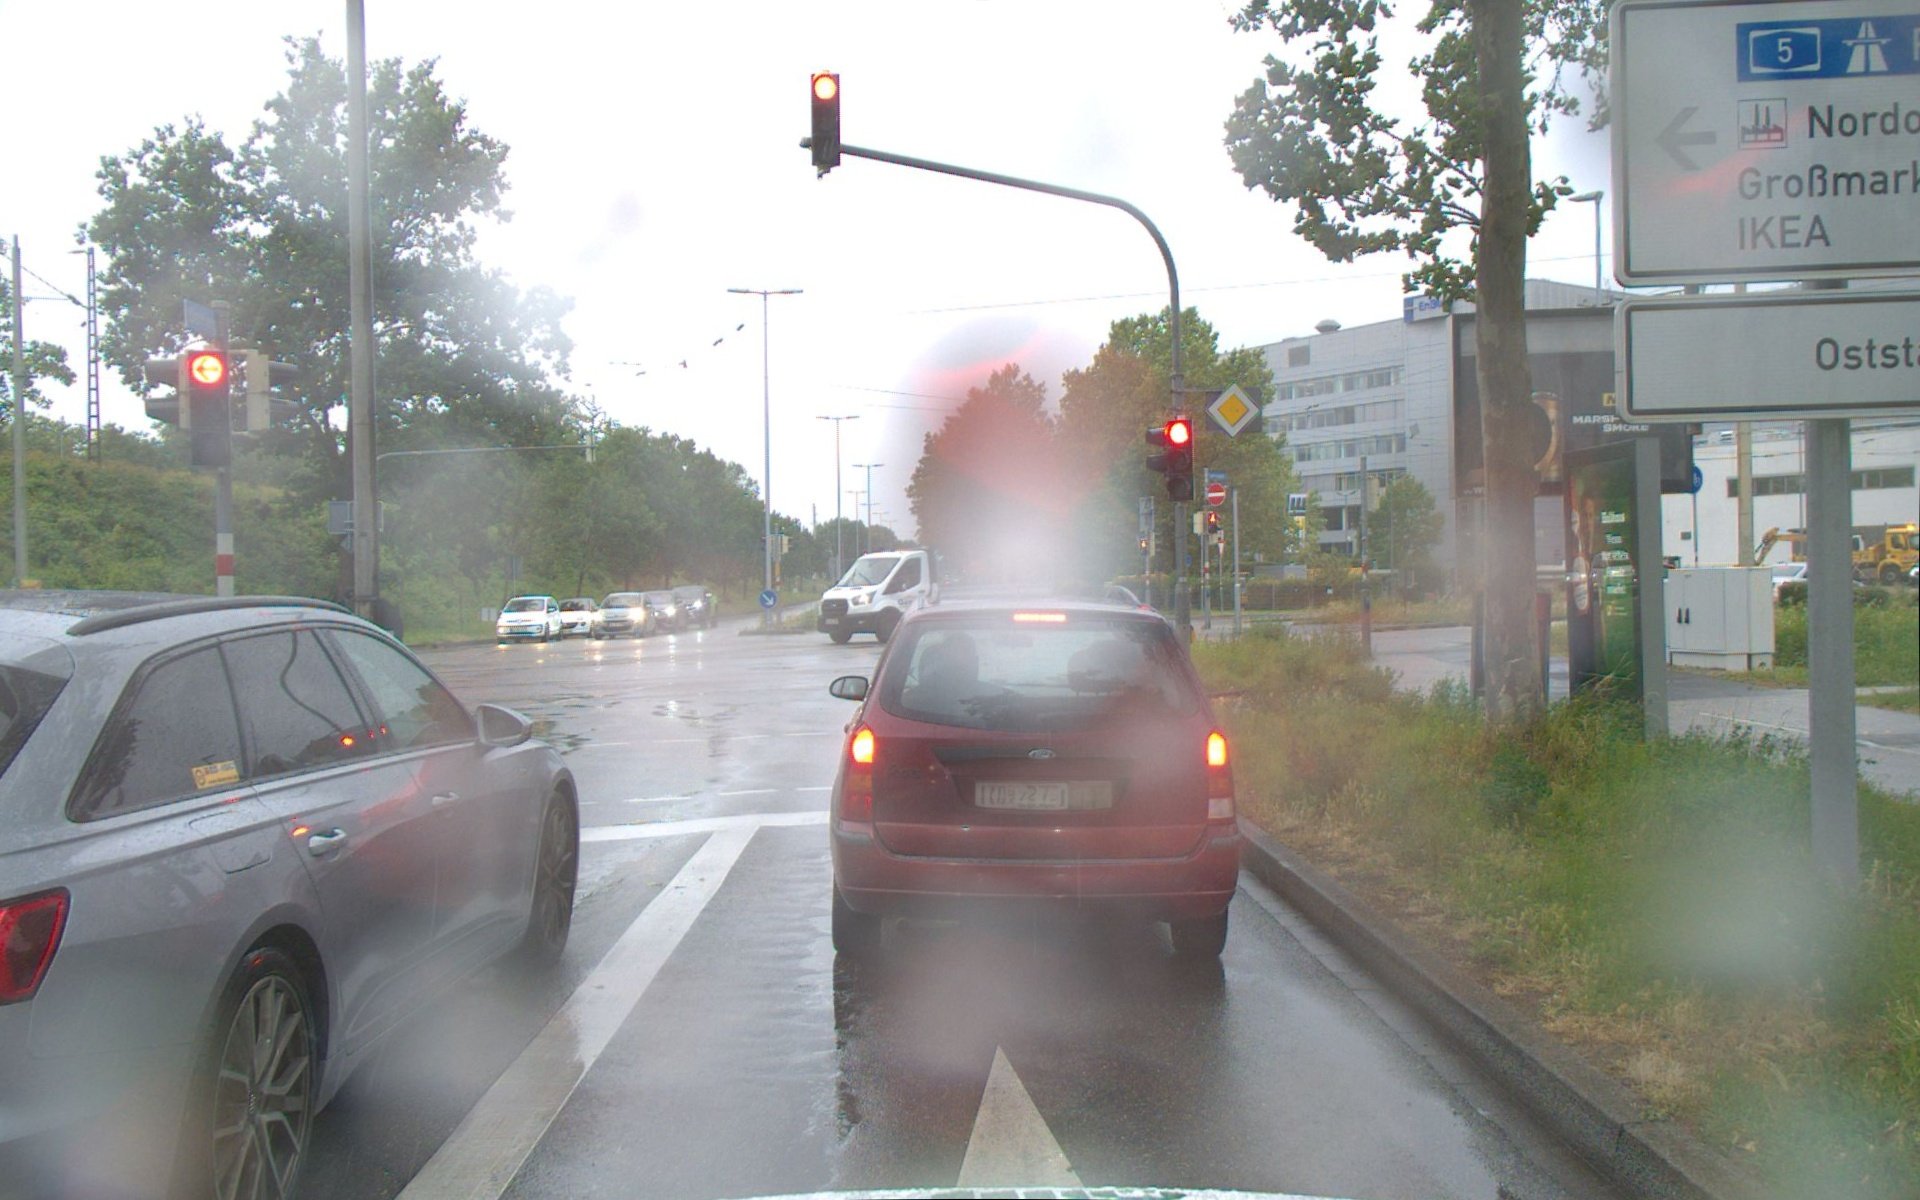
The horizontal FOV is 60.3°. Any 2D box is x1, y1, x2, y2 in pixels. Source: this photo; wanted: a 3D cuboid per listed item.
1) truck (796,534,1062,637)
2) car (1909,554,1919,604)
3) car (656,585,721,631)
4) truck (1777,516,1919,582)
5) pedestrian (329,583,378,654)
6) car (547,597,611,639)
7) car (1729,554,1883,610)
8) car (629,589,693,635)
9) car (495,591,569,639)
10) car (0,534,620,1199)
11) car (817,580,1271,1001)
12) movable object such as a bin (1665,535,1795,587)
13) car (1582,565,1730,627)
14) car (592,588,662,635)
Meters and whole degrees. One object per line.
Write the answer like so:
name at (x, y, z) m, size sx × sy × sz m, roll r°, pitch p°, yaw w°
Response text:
truck at (-0.686, -0.405, 41.937) m, size 6.808 × 2.406 × 2.445 m, roll -2°, pitch 0°, yaw -42°
car at (33.036, -0.728, 53.962) m, size 4.575 × 1.614 × 1.902 m, roll -1°, pitch 0°, yaw -37°
car at (-11.656, 0.292, 71.278) m, size 2.024 × 1.851 × 5.539 m, roll -2°, pitch 1°, yaw -2°
truck at (52.797, -2.953, 97.365) m, size 3.292 × 3.568 × 7.789 m, roll -2°, pitch 0°, yaw -36°
pedestrian at (-16.657, 0.500, 45.439) m, size 1.083 × 1.879 × 1.127 m, roll -1°, pitch 0°, yaw -13°
car at (-14.070, 0.626, 61.216) m, size 1.558 × 1.428 × 3.822 m, roll -2°, pitch 1°, yaw -2°
car at (24.232, -0.528, 47.316) m, size 4.774 × 1.517 × 1.904 m, roll -1°, pitch 0°, yaw -35°
car at (-11.355, 0.454, 63.038) m, size 1.727 × 1.614 × 4.811 m, roll -2°, pitch 0°, yaw -2°
car at (-14.169, 0.485, 54.889) m, size 1.605 × 1.478 × 3.785 m, roll -2°, pitch 1°, yaw -3°
car at (-2.303, 0.665, 4.841) m, size 1.733 × 1.601 × 4.819 m, roll 1°, pitch 0°, yaw -2°
car at (0.251, 0.670, 7.801) m, size 1.609 × 1.490 × 3.731 m, roll 1°, pitch 0°, yaw -2°
movable object such as a bin at (48.344, -2.427, 103.976) m, size 3.292 × 3.048 × 6.634 m, roll -2°, pitch 0°, yaw -36°
car at (17.648, -0.107, 41.921) m, size 3.769 × 1.517 × 1.659 m, roll 0°, pitch 0°, yaw -33°
car at (-11.234, 0.361, 55.978) m, size 1.605 × 1.499 × 3.964 m, roll -2°, pitch 1°, yaw -1°
